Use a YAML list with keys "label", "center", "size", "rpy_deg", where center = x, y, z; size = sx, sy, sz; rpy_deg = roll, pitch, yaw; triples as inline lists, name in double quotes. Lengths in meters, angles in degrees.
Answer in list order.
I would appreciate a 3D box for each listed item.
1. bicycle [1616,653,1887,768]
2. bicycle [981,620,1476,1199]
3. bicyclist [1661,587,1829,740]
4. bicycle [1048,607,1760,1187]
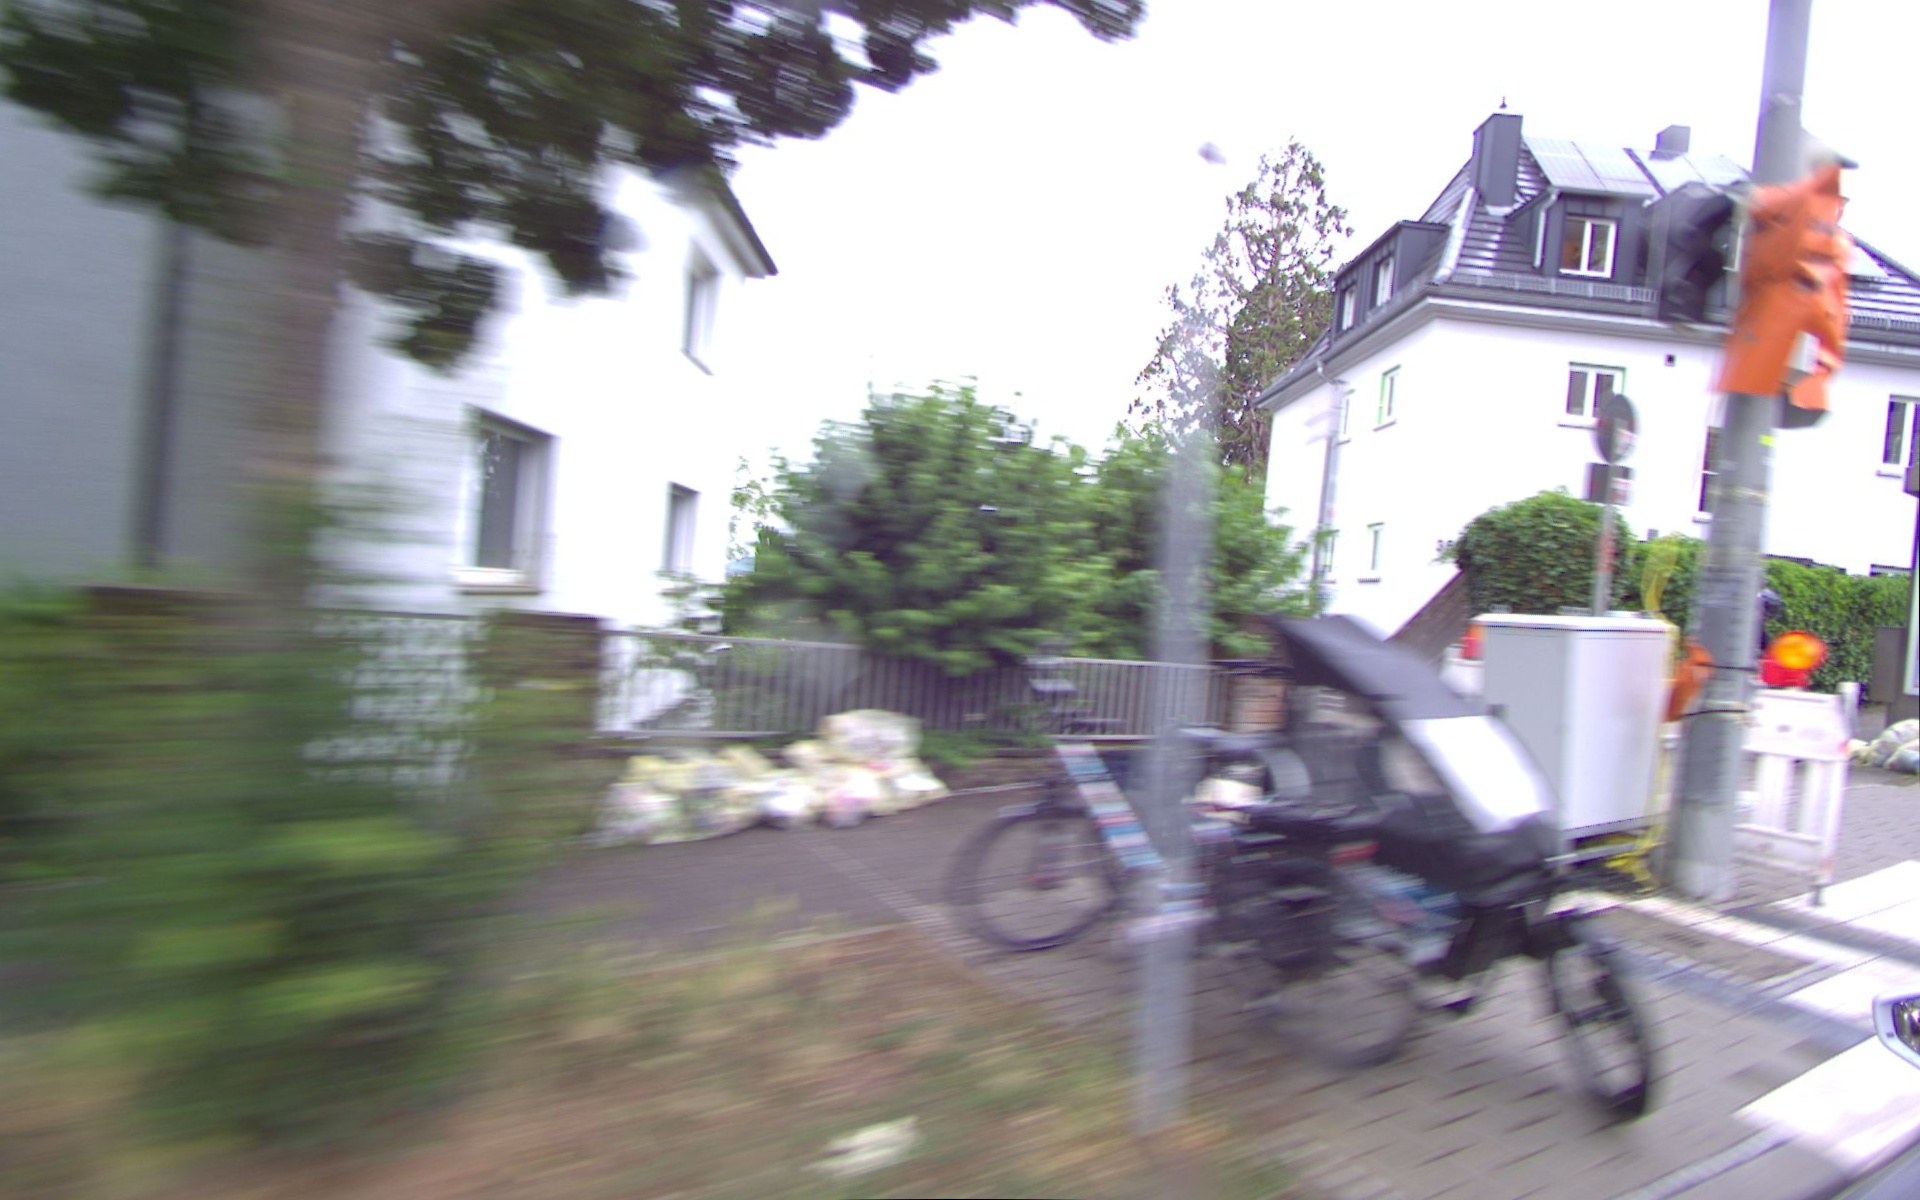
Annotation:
- label: "bicycle"
  center: [7.949, 1.068, 10.199]
  size: [1.081, 0.944, 1.867]
  rpy_deg: [2, 0, -22]
- label: "bicycle"
  center: [0.739, 0.806, 3.322]
  size: [0.415, 1.364, 1.679]
  rpy_deg: [-1, 3, -35]
- label: "bicyclist"
  center: [7.960, 0.621, 10.204]
  size: [1.081, 1.458, 0.904]
  rpy_deg: [2, 0, -22]
- label: "bicycle"
  center: [1.359, 0.747, 3.602]
  size: [0.802, 1.380, 2.213]
  rpy_deg: [2, 0, -36]
